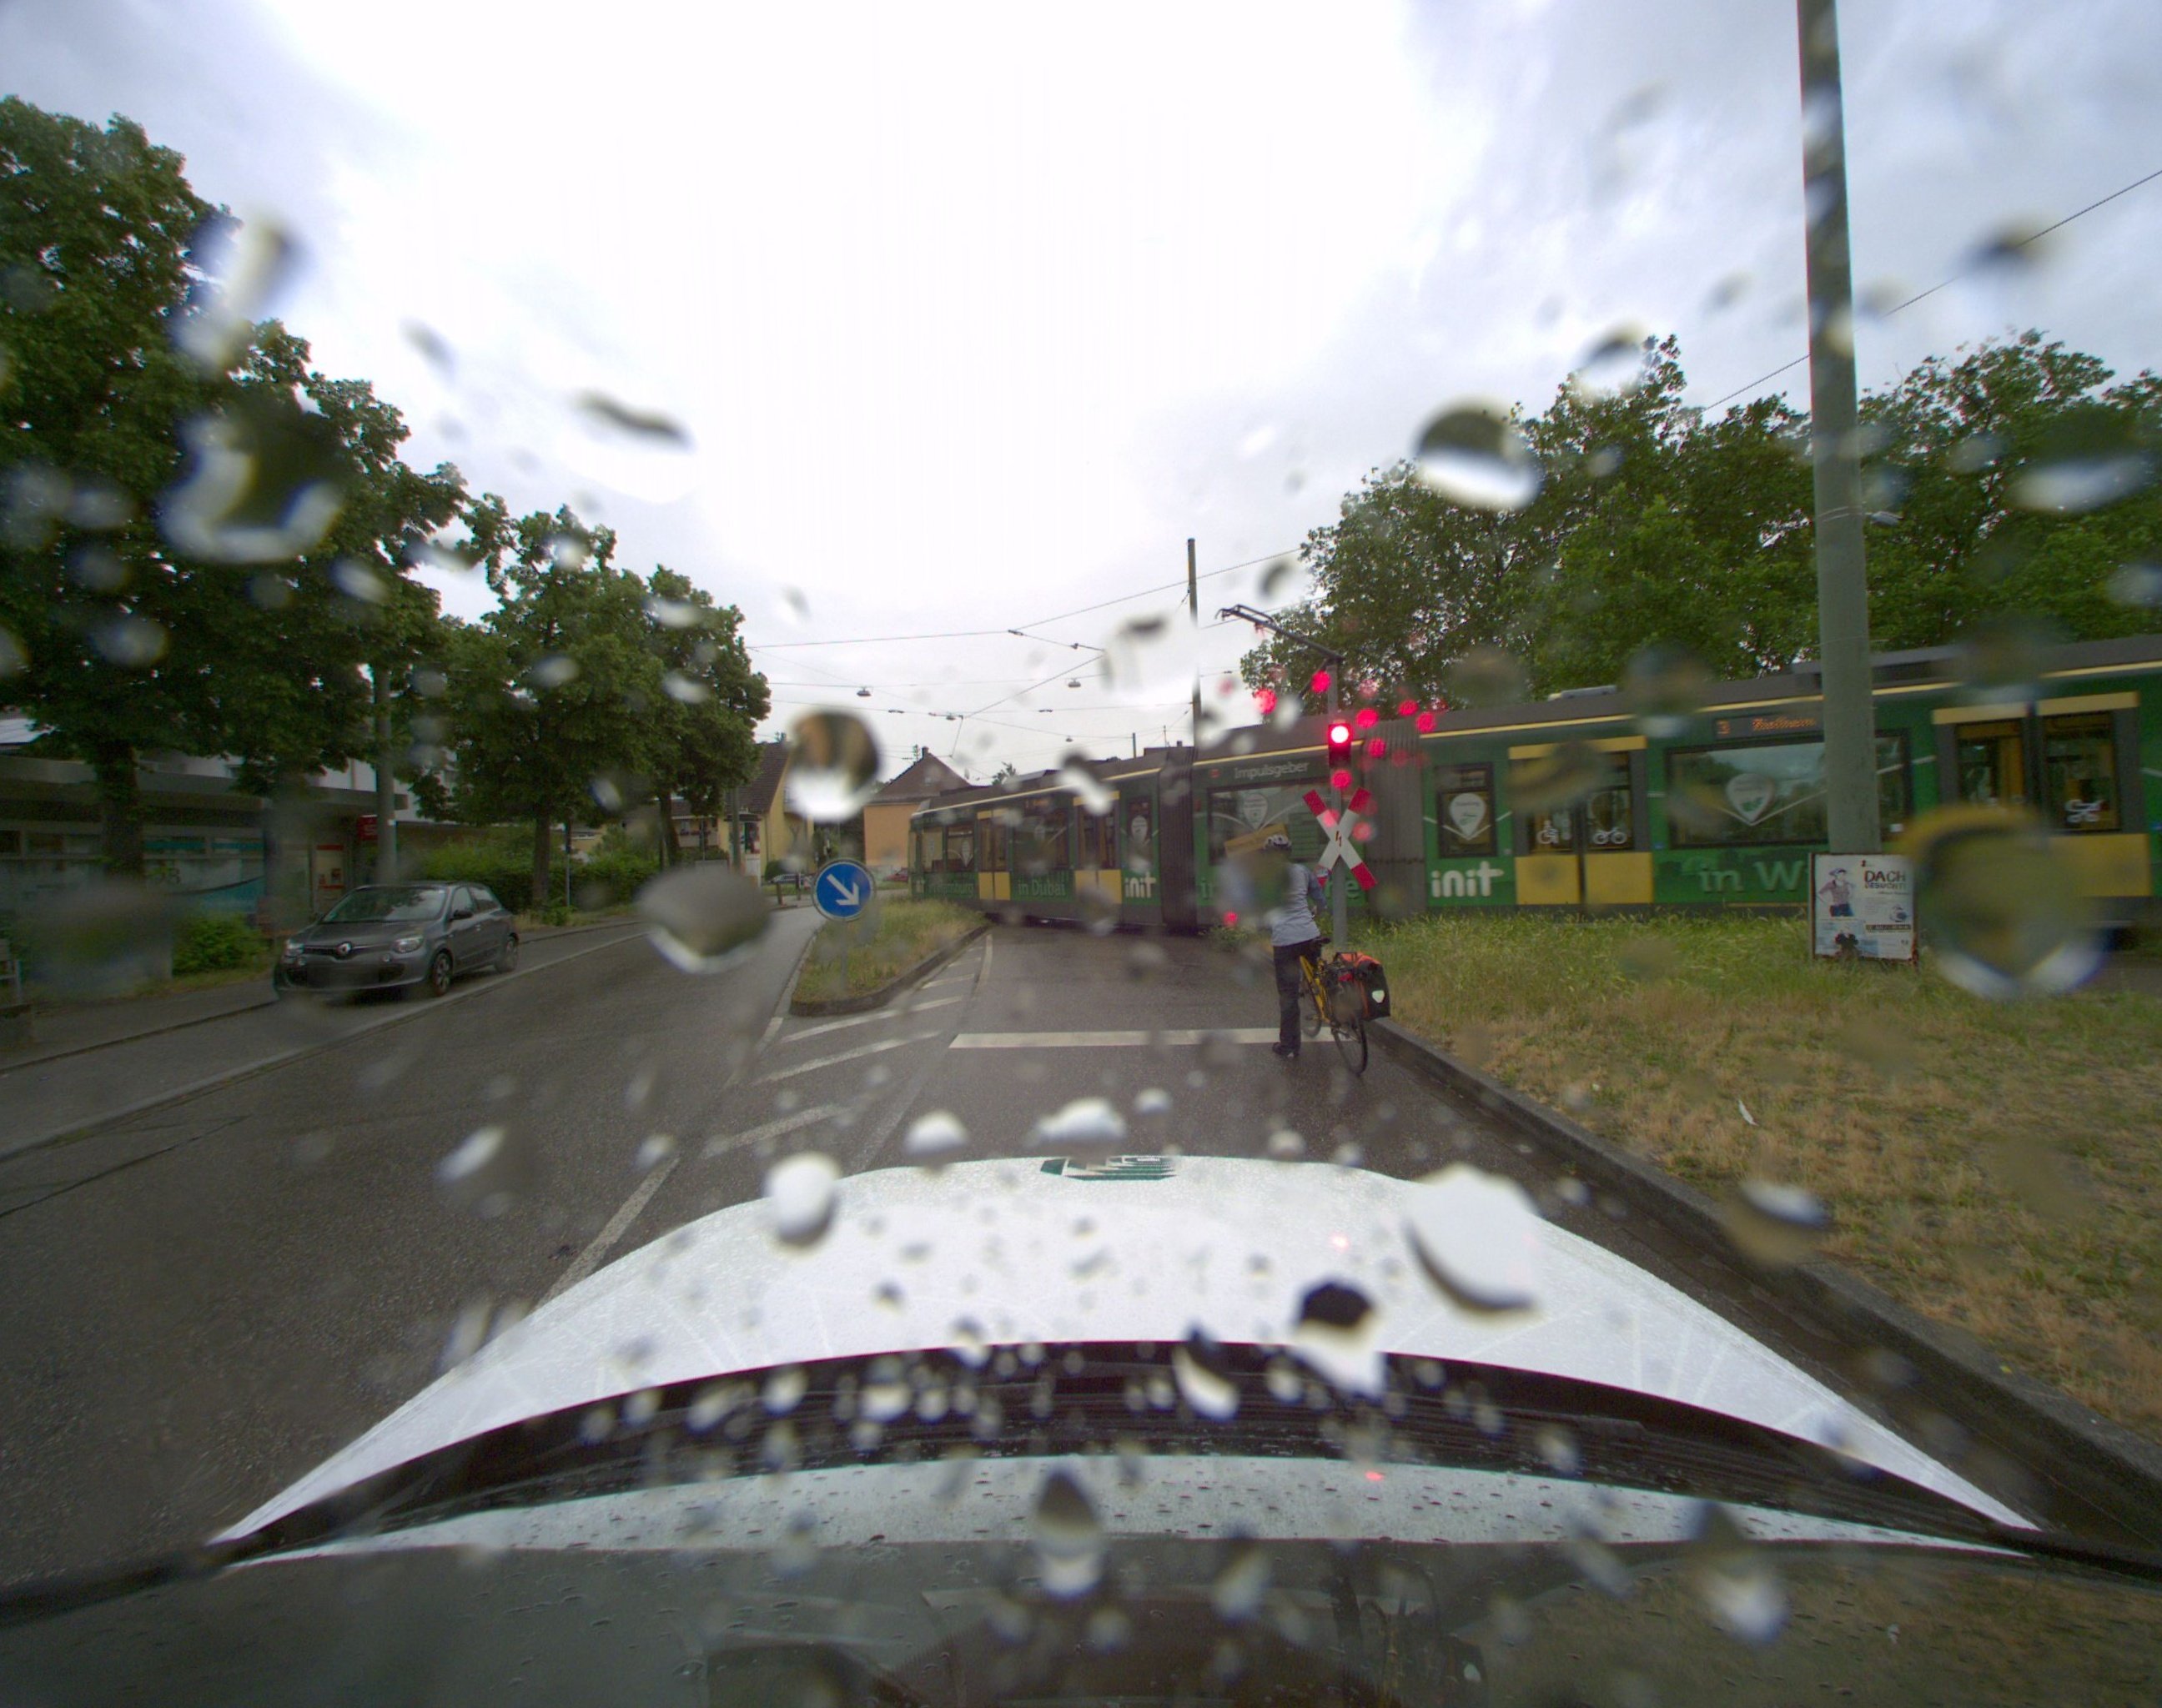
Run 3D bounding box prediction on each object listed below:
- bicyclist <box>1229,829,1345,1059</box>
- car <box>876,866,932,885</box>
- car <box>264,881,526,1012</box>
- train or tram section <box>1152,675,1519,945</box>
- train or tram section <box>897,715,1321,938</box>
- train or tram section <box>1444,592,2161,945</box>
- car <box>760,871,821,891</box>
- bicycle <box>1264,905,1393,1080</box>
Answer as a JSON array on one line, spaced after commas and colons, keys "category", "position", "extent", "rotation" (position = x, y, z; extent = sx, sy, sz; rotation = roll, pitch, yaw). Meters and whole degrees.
[{"category": "bicyclist", "position": [1.542, 0.640, 6.211], "extent": [0.665, 1.626, 0.853], "rotation": [0, -1, 0]}, {"category": "car", "position": [-13.658, 1.640, 63.077], "extent": [3.979, 1.456, 1.831], "rotation": [0, -1, -5]}, {"category": "car", "position": [-9.688, 1.183, 11.883], "extent": [1.621, 1.496, 3.645], "rotation": [0, -1, -18]}, {"category": "train or tram section", "position": [4.076, -0.522, 13.297], "extent": [4.923, 3.553, 2.787], "rotation": [-3, -1, 37]}, {"category": "train or tram section", "position": [-0.544, -0.296, 19.171], "extent": [2.781, 3.553, 12.993], "rotation": [-2, 0, -34]}, {"category": "train or tram section", "position": [11.047, -0.857, 9.695], "extent": [12.051, 3.553, 2.786], "rotation": [-3, -1, 26]}, {"category": "car", "position": [-22.104, 2.019, 62.032], "extent": [3.979, 1.456, 1.831], "rotation": [0, -1, -5]}, {"category": "bicycle", "position": [1.798, 0.949, 6.143], "extent": [0.444, 1.004, 1.728], "rotation": [-2, 0, 1]}]
